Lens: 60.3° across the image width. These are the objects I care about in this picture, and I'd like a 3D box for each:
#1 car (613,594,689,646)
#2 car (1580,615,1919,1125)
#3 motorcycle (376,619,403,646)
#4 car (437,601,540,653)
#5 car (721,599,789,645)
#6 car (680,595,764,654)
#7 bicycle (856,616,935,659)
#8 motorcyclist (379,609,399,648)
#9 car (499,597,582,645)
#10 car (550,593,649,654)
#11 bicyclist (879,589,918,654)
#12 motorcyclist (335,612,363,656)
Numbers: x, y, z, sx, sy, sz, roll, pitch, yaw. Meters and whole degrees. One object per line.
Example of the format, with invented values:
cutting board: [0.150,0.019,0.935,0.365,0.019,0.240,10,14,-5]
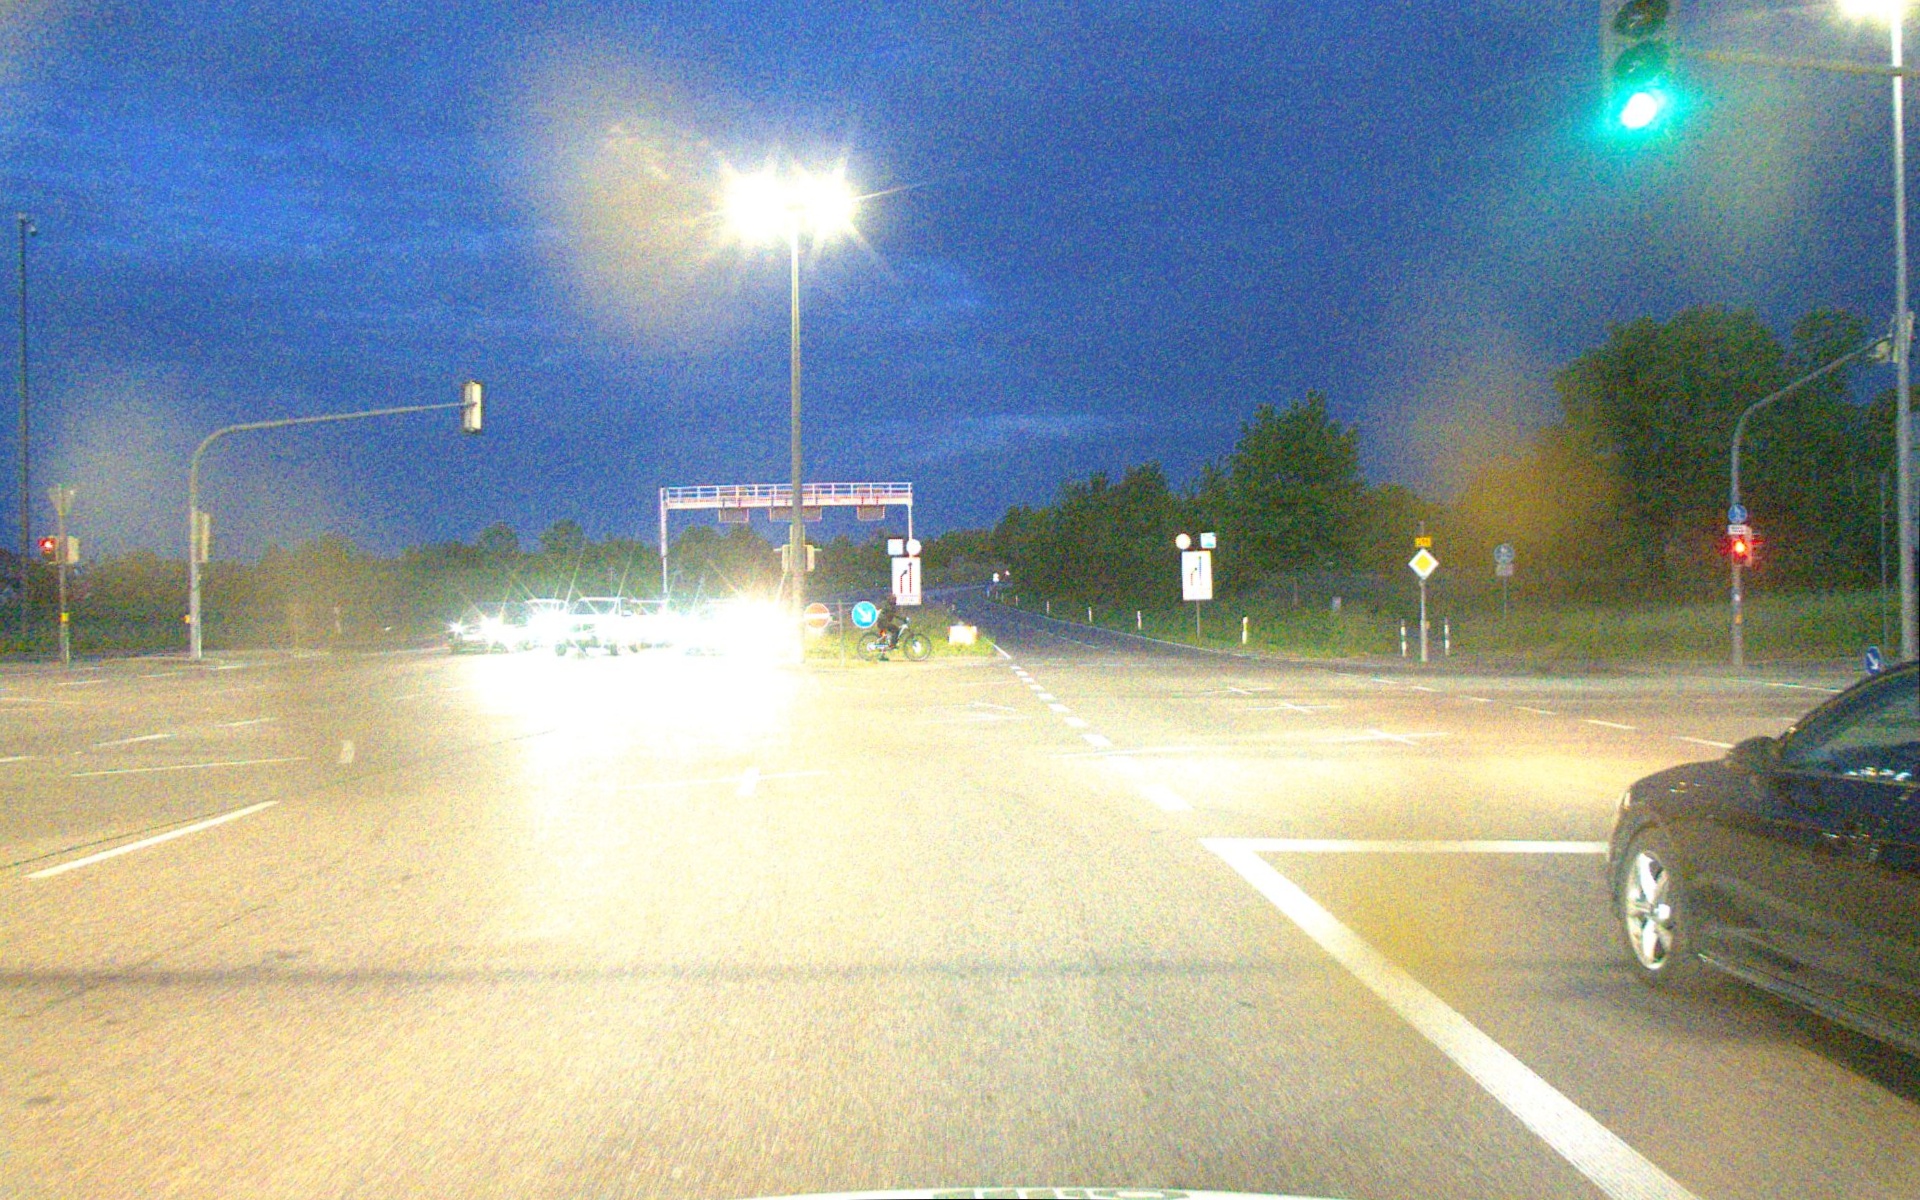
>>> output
car: [-10.491,0.650,56.464,1.709,1.655,4.363,0,0,1]
car: [3.658,0.801,5.132,1.754,1.469,4.533,1,-1,0]
motorcycle: [-27.180,1.561,78.789,0.831,1.202,1.817,-4,-2,-9]
car: [-14.155,0.791,49.910,1.743,1.471,4.292,0,0,2]
car: [-7.046,0.739,57.184,1.736,1.507,3.910,1,0,1]
car: [-7.043,0.703,49.342,1.813,1.661,4.585,0,0,0]
bicycle: [-1.697,0.970,43.119,2.021,1.120,0.694,0,-1,-6]
motorcyclist: [-27.196,1.350,78.774,0.669,1.790,0.788,-4,-2,-9]
car: [-14.284,0.704,56.515,1.794,1.551,4.000,-1,0,0]
car: [-10.649,0.662,49.131,1.869,1.711,4.420,0,0,1]
bicyclist: [-1.616,0.569,43.146,0.977,1.680,0.603,0,-1,-6]
motorcyclist: [-27.326,1.520,73.988,0.897,1.840,0.869,-4,-3,-6]
